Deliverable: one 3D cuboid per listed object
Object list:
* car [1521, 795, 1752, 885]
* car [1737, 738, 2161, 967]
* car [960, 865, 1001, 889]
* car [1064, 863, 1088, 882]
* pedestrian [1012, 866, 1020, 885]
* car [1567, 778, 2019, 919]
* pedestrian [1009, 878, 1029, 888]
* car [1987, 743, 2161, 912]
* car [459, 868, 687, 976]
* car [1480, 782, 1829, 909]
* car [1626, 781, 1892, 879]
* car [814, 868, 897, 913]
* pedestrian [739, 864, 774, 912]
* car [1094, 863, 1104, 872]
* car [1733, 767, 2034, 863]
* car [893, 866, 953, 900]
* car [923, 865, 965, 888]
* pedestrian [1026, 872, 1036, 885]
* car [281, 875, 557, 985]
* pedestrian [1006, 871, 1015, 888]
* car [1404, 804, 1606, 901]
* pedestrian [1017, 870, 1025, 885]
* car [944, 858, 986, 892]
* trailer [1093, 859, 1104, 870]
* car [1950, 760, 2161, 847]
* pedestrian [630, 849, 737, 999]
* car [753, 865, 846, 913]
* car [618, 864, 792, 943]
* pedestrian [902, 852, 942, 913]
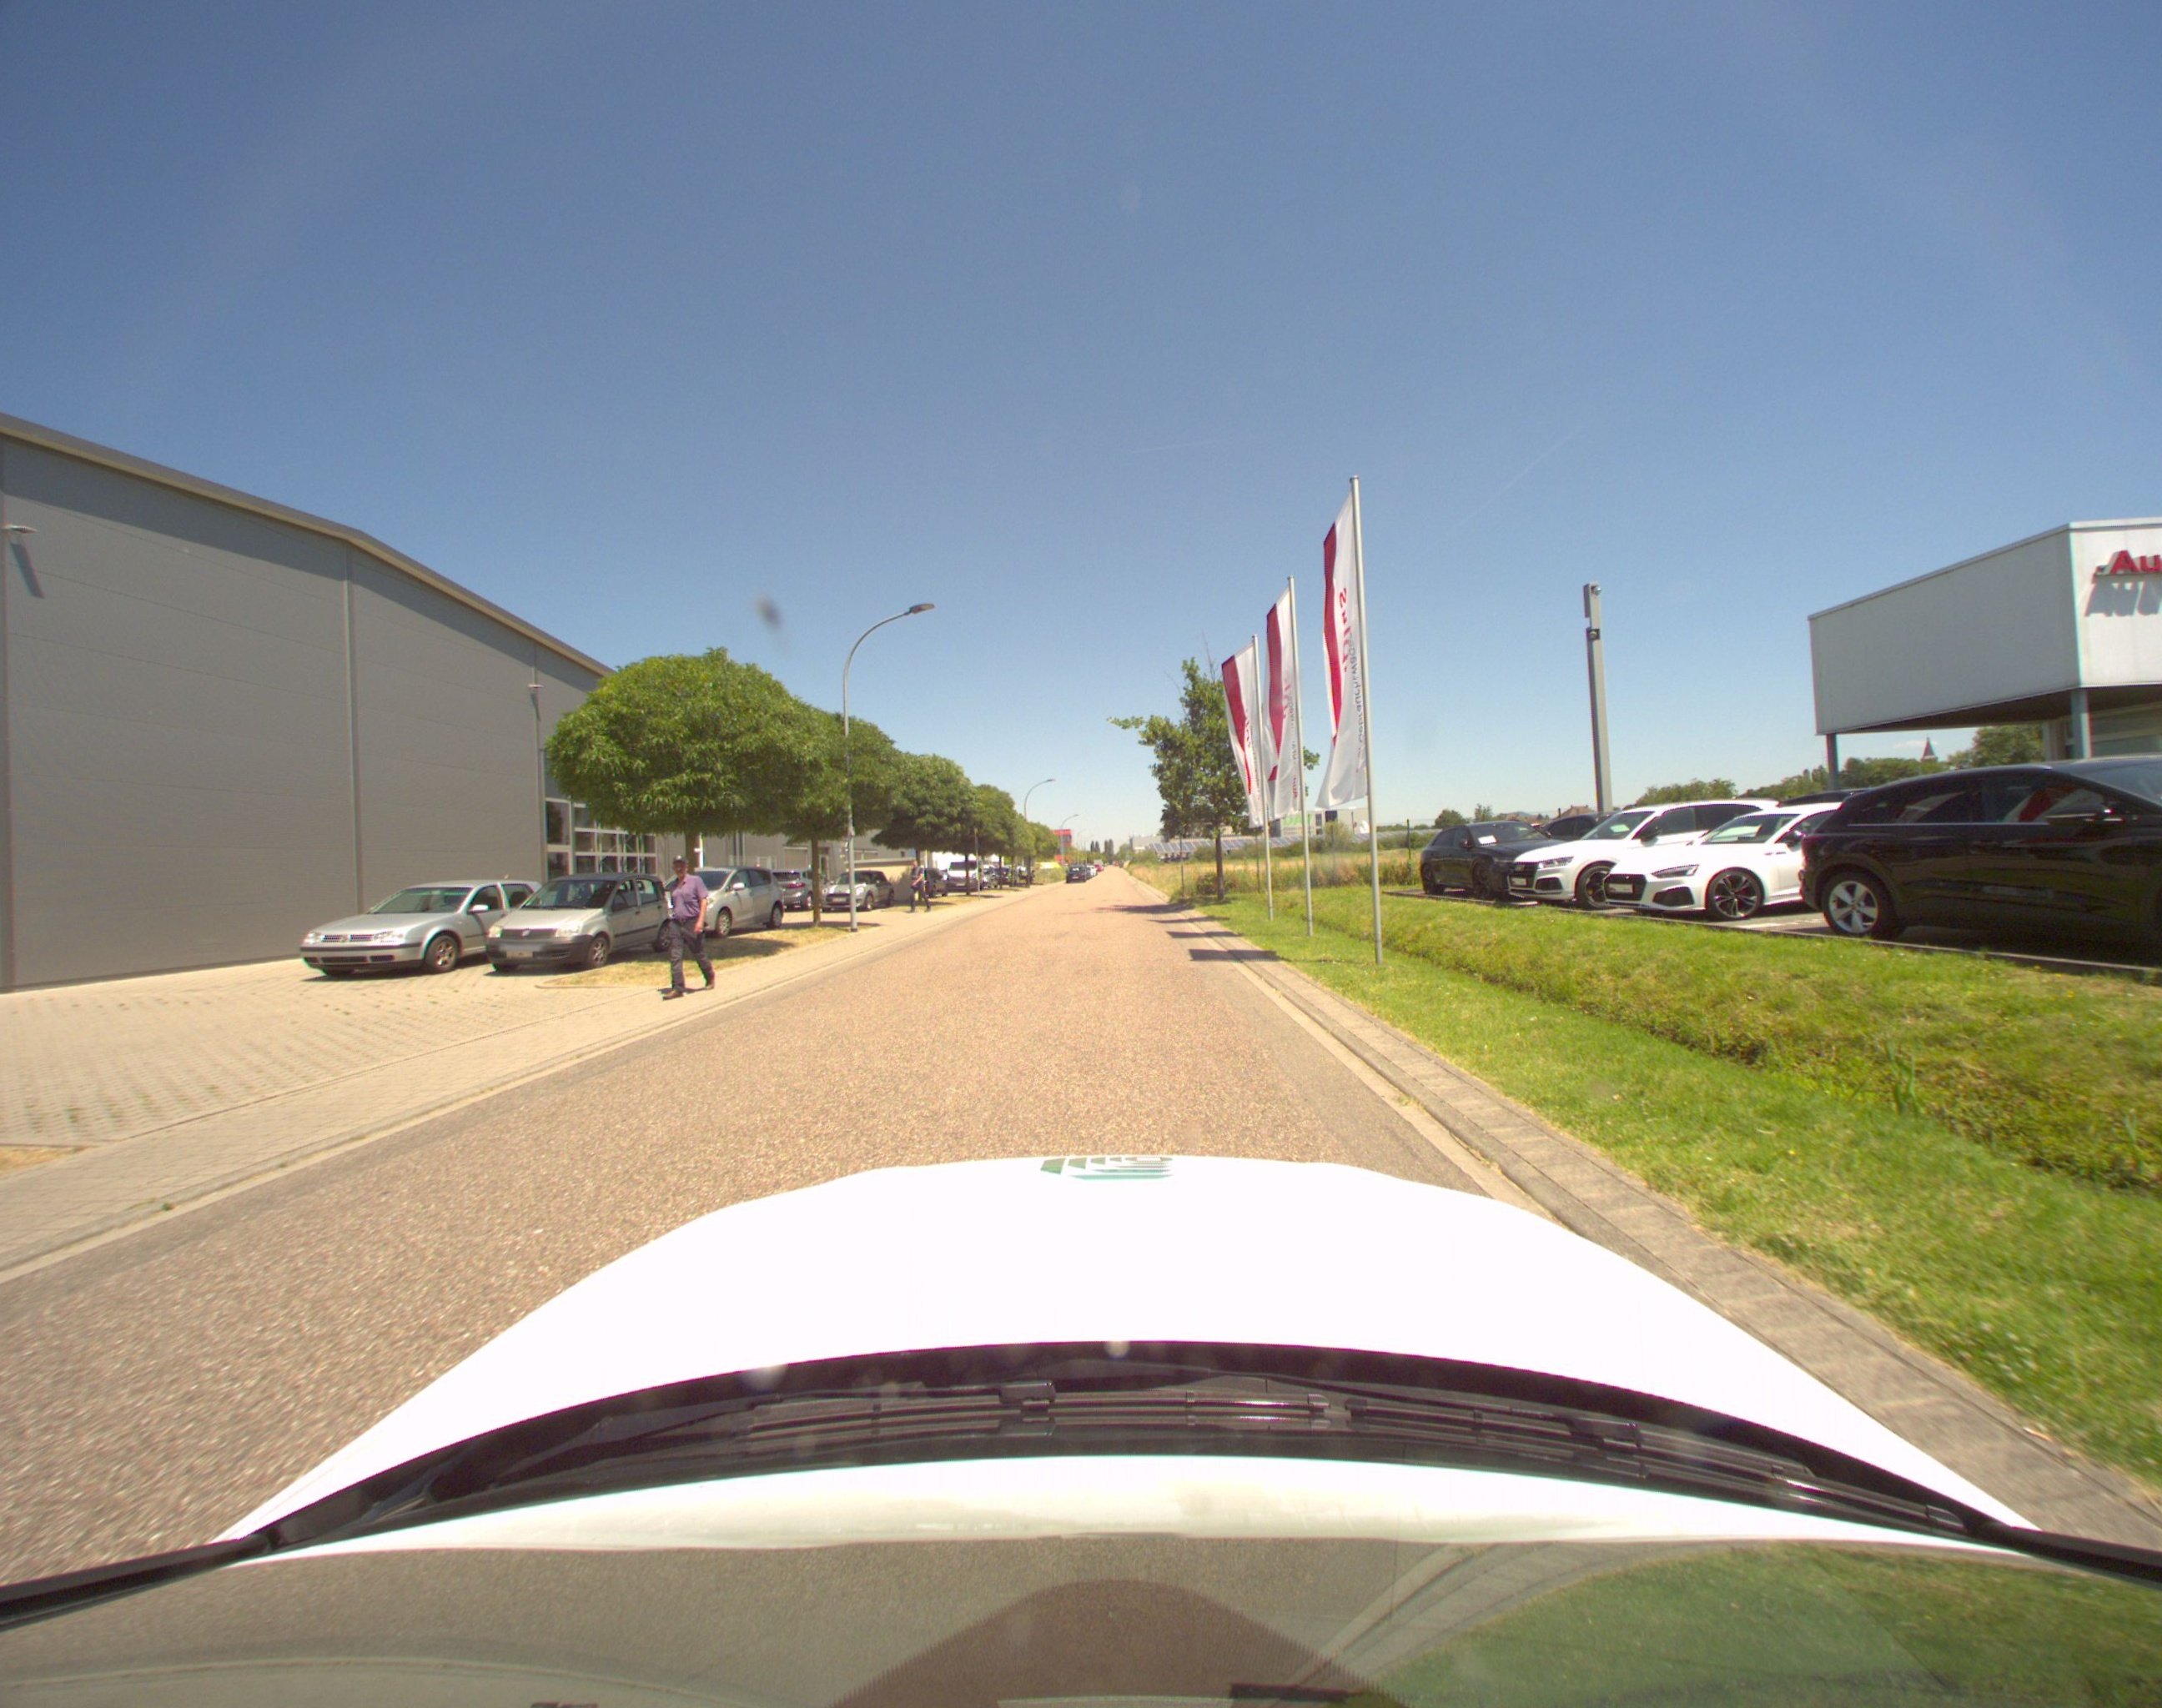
[{"bbox_3d":[12.101,-0.255,18.241,2.016,1.610,4.813,-5,-1,4],"label":"car"},{"bbox_3d":[8.452,-0.072,6.887,2.017,1.573,4.782,-4,-1,3],"label":"car"},{"bbox_3d":[-6.919,1.603,56.538,1.919,1.441,4.844,-3,-2,3],"label":"car"},{"bbox_3d":[-0.429,1.673,74.929,1.920,1.567,4.190,-3,-1,1],"label":"car"},{"bbox_3d":[-5.334,1.776,67.132,0.503,1.595,0.754,0,-1,4],"label":"pedestrian"},{"bbox_3d":[9.709,-0.061,11.427,4.514,1.457,2.031,-4,-1,0],"label":"car"},{"bbox_3d":[-4.494,2.087,58.762,1.352,0.749,0.754,0,-1,4],"label":"pedestrian"},{"bbox_3d":[11.116,-0.327,6.711,2.017,1.590,4.782,-4,-1,3],"label":"car"},{"bbox_3d":[-8.503,1.047,14.052,1.678,1.500,3.701,-2,0,-3],"label":"car"},{"bbox_3d":[9.672,-0.130,14.042,4.514,1.692,2.031,-4,-1,0],"label":"car"},{"bbox_3d":[14.668,-0.444,18.113,2.016,1.725,4.813,-5,-1,4],"label":"car"},{"bbox_3d":[-8.173,1.289,29.864,1.758,1.453,3.843,-1,-1,3],"label":"car"},{"bbox_3d":[-11.999,1.235,30.121,0.837,1.713,0.965,-1,-1,2],"label":"pedestrian"},{"bbox_3d":[3.542,2.635,157.611,1.780,1.520,3.984,-3,-1,2],"label":"car"},{"bbox_3d":[17.301,-0.725,18.019,2.016,1.679,4.813,-5,-1,4],"label":"car"},{"bbox_3d":[-7.660,1.389,39.968,1.759,1.453,4.716,-3,-1,2],"label":"car"},{"bbox_3d":[-9.465,1.549,56.735,1.919,1.465,4.468,0,-1,3],"label":"car"},{"bbox_3d":[-4.159,2.025,67.559,0.746,1.099,0.647,0,-1,6],"label":"pedestrian"},{"bbox_3d":[-10.877,1.159,13.770,1.678,1.500,3.702,-1,-1,-2],"label":"car"},{"bbox_3d":[-4.906,1.767,57.015,0.475,1.150,0.557,0,-3,12],"label":"pedestrian"},{"bbox_3d":[9.119,-0.012,18.139,2.016,1.692,5.113,-5,-1,4],"label":"car"},{"bbox_3d":[-5.066,1.976,68.602,0.503,1.191,0.754,0,-1,4],"label":"pedestrian"},{"bbox_3d":[-7.175,1.266,50.879,1.831,2.019,5.125,0,-1,0],"label":"car"},{"bbox_3d":[3.663,2.196,168.976,2.192,2.137,4.287,-3,-1,2],"label":"trailer"},{"bbox_3d":[22.447,-1.102,17.727,2.016,1.654,4.813,-5,-1,4],"label":"car"},{"bbox_3d":[-5.040,0.854,10.409,0.741,1.801,1.136,-1,-1,4],"label":"pedestrian"},{"bbox_3d":[-10.426,1.245,30.483,1.728,1.628,4.352,-1,-1,3],"label":"car"},{"bbox_3d":[-8.554,1.054,19.041,1.758,1.573,4.543,-1,-1,3],"label":"car"},{"bbox_3d":[-5.345,0.947,27.343,0.832,1.972,0.971,-2,-1,42],"label":"pedestrian"}]
